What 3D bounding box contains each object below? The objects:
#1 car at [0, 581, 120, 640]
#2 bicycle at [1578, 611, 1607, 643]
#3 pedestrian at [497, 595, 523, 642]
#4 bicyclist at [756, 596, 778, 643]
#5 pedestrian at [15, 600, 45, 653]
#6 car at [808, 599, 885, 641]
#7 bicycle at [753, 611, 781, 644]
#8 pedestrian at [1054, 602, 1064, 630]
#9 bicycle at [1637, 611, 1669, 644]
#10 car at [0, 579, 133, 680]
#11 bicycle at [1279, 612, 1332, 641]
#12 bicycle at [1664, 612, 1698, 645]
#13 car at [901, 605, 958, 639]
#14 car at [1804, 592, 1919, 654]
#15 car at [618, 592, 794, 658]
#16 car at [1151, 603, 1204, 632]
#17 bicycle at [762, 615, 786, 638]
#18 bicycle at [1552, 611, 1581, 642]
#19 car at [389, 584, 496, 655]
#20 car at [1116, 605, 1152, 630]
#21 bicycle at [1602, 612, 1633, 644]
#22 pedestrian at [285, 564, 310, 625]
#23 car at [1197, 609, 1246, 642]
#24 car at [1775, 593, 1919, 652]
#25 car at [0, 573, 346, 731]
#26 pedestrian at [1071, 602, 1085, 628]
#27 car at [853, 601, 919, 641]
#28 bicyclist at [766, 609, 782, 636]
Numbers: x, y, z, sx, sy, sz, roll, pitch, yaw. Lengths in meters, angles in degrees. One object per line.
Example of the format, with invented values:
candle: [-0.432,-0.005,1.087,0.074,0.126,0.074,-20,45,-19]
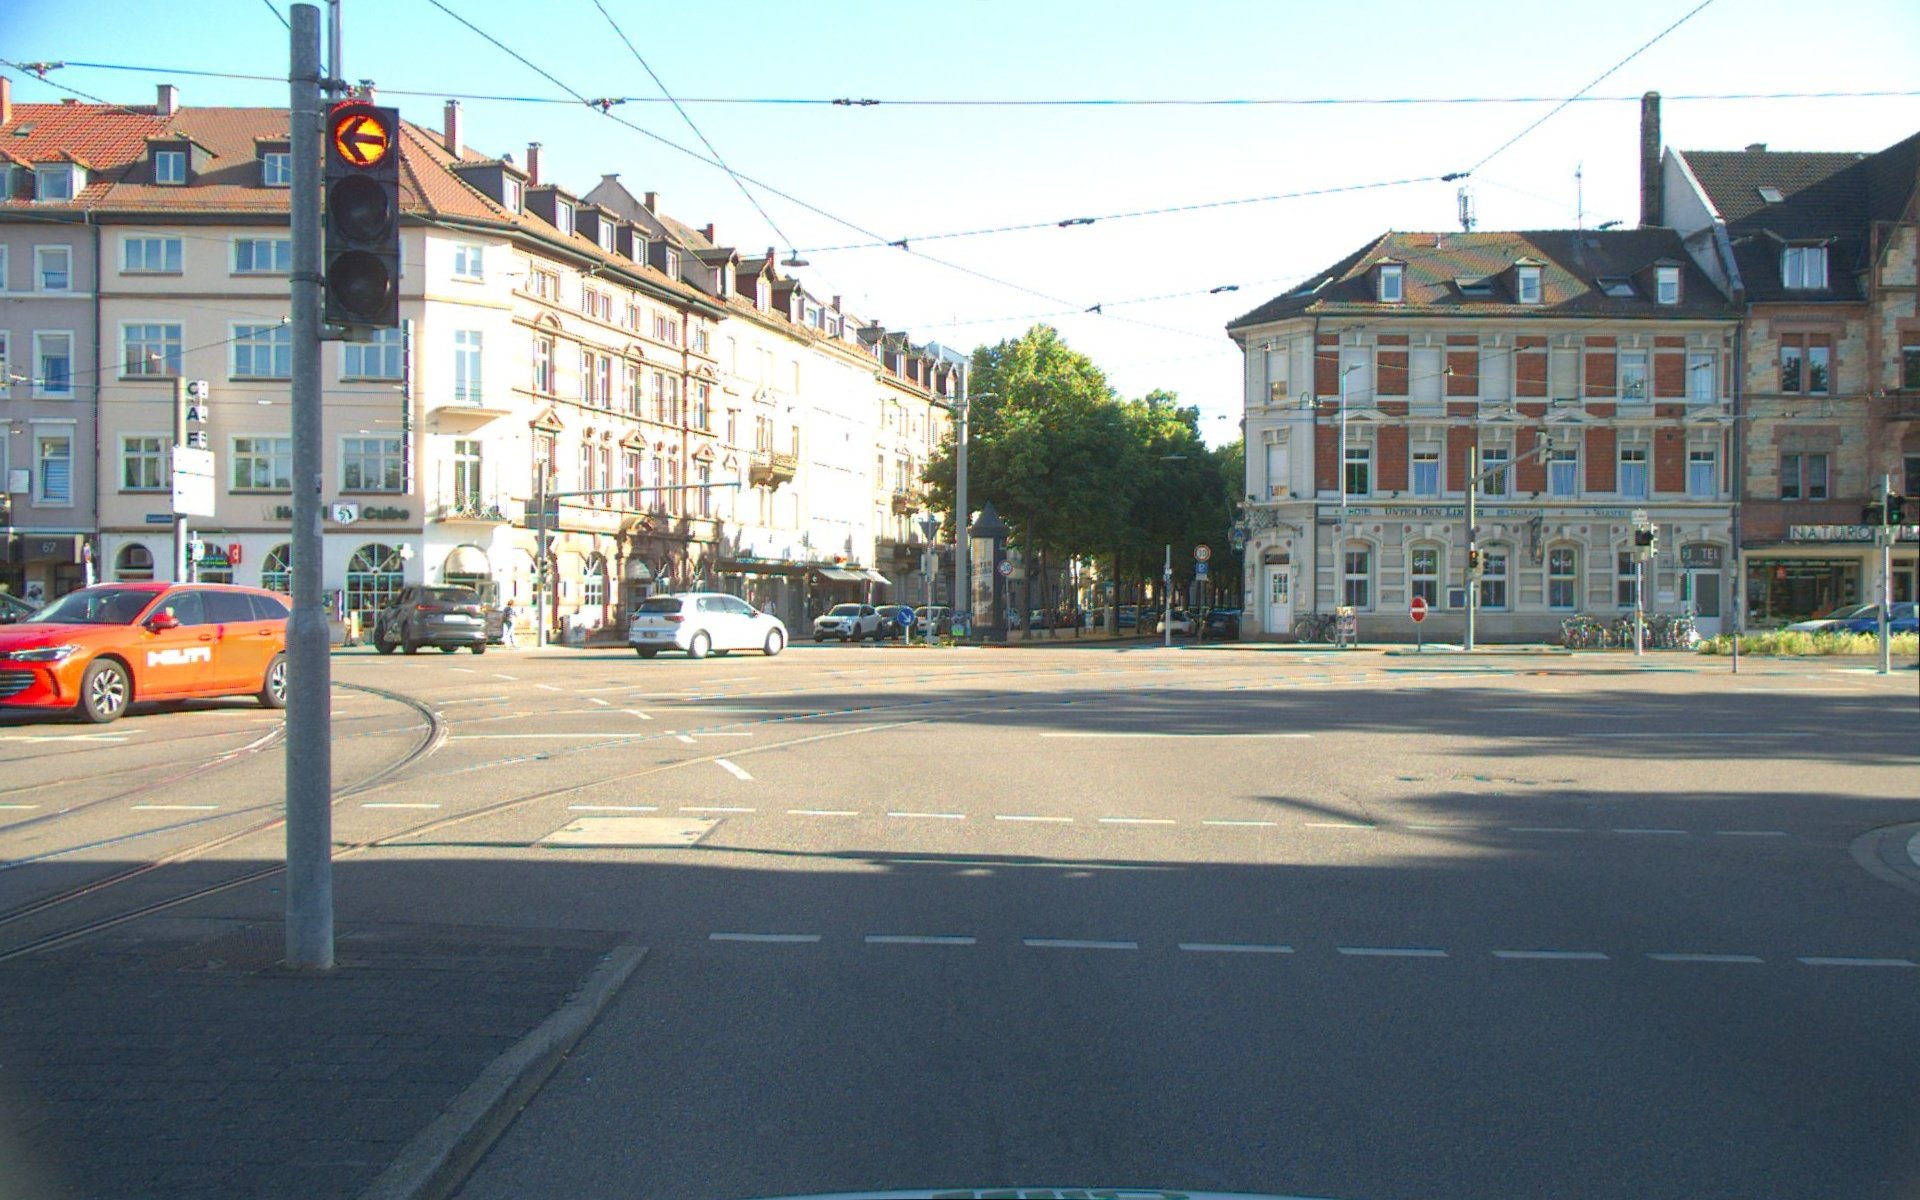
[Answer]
car: [-25.270,0.273,45.058,3.825,1.529,1.791,0,2,3]
bicycle: [20.560,0.874,53.809,0.749,0.985,2.211,1,0,17]
pedestrian: [-15.461,0.635,56.825,0.655,1.622,0.815,1,-1,-1]
bicyclist: [-7.575,0.757,64.916,0.553,1.835,0.915,1,-1,14]
pedestrian: [-29.486,0.831,52.432,0.572,1.677,0.616,1,-1,-1]
car: [-4.569,0.811,67.187,1.764,1.613,4.162,1,0,16]
bicycle: [-7.572,1.058,64.910,0.553,1.276,1.558,1,0,14]
pedestrian: [7.257,1.162,121.387,0.736,2.049,0.999,1,-1,3]
bicycle: [22.438,0.892,53.578,0.749,1.025,2.221,1,0,17]
car: [-15.523,0.457,26.360,4.150,1.544,1.981,-1,1,-29]
bicycle: [11.977,0.908,57.297,1.764,0.979,0.604,1,0,14]
bicycle: [23.317,0.907,53.496,0.775,1.033,2.211,1,0,17]
car: [-1.449,1.046,79.711,1.764,1.603,3.893,1,0,15]
car: [25.919,0.637,46.041,3.905,1.650,1.804,1,0,0]
car: [-5.722,0.520,37.679,1.697,1.414,4.219,0,0,31]
car: [11.990,0.968,90.887,1.854,1.479,4.007,0,1,23]
bicycle: [-7.548,1.068,67.162,0.462,0.938,1.453,1,0,14]
bicycle: [19.806,0.861,54.046,0.749,0.979,2.211,1,0,17]
car: [-12.722,0.458,40.490,1.846,1.630,4.416,-1,0,-26]
car: [12.313,1.240,116.789,1.951,1.713,4.003,1,0,15]
bicycle: [21.339,0.887,53.716,0.749,1.001,2.211,1,0,17]
pedestrian: [-20.358,-0.174,50.821,0.517,1.854,0.675,1,-1,-8]
car: [13.093,1.264,82.700,1.719,1.583,4.001,1,0,19]
car: [26.616,0.663,49.165,3.905,1.650,1.804,1,0,0]
car: [-9.171,0.465,18.635,1.759,1.495,4.878,1,1,14]
pedestrian: [8.277,1.036,115.838,0.703,1.821,0.688,1,-1,-36]
car: [-3.252,0.936,73.547,1.786,1.715,3.877,1,0,16]
bicyclist: [-7.546,0.906,67.173,0.462,1.058,0.538,1,-1,14]
